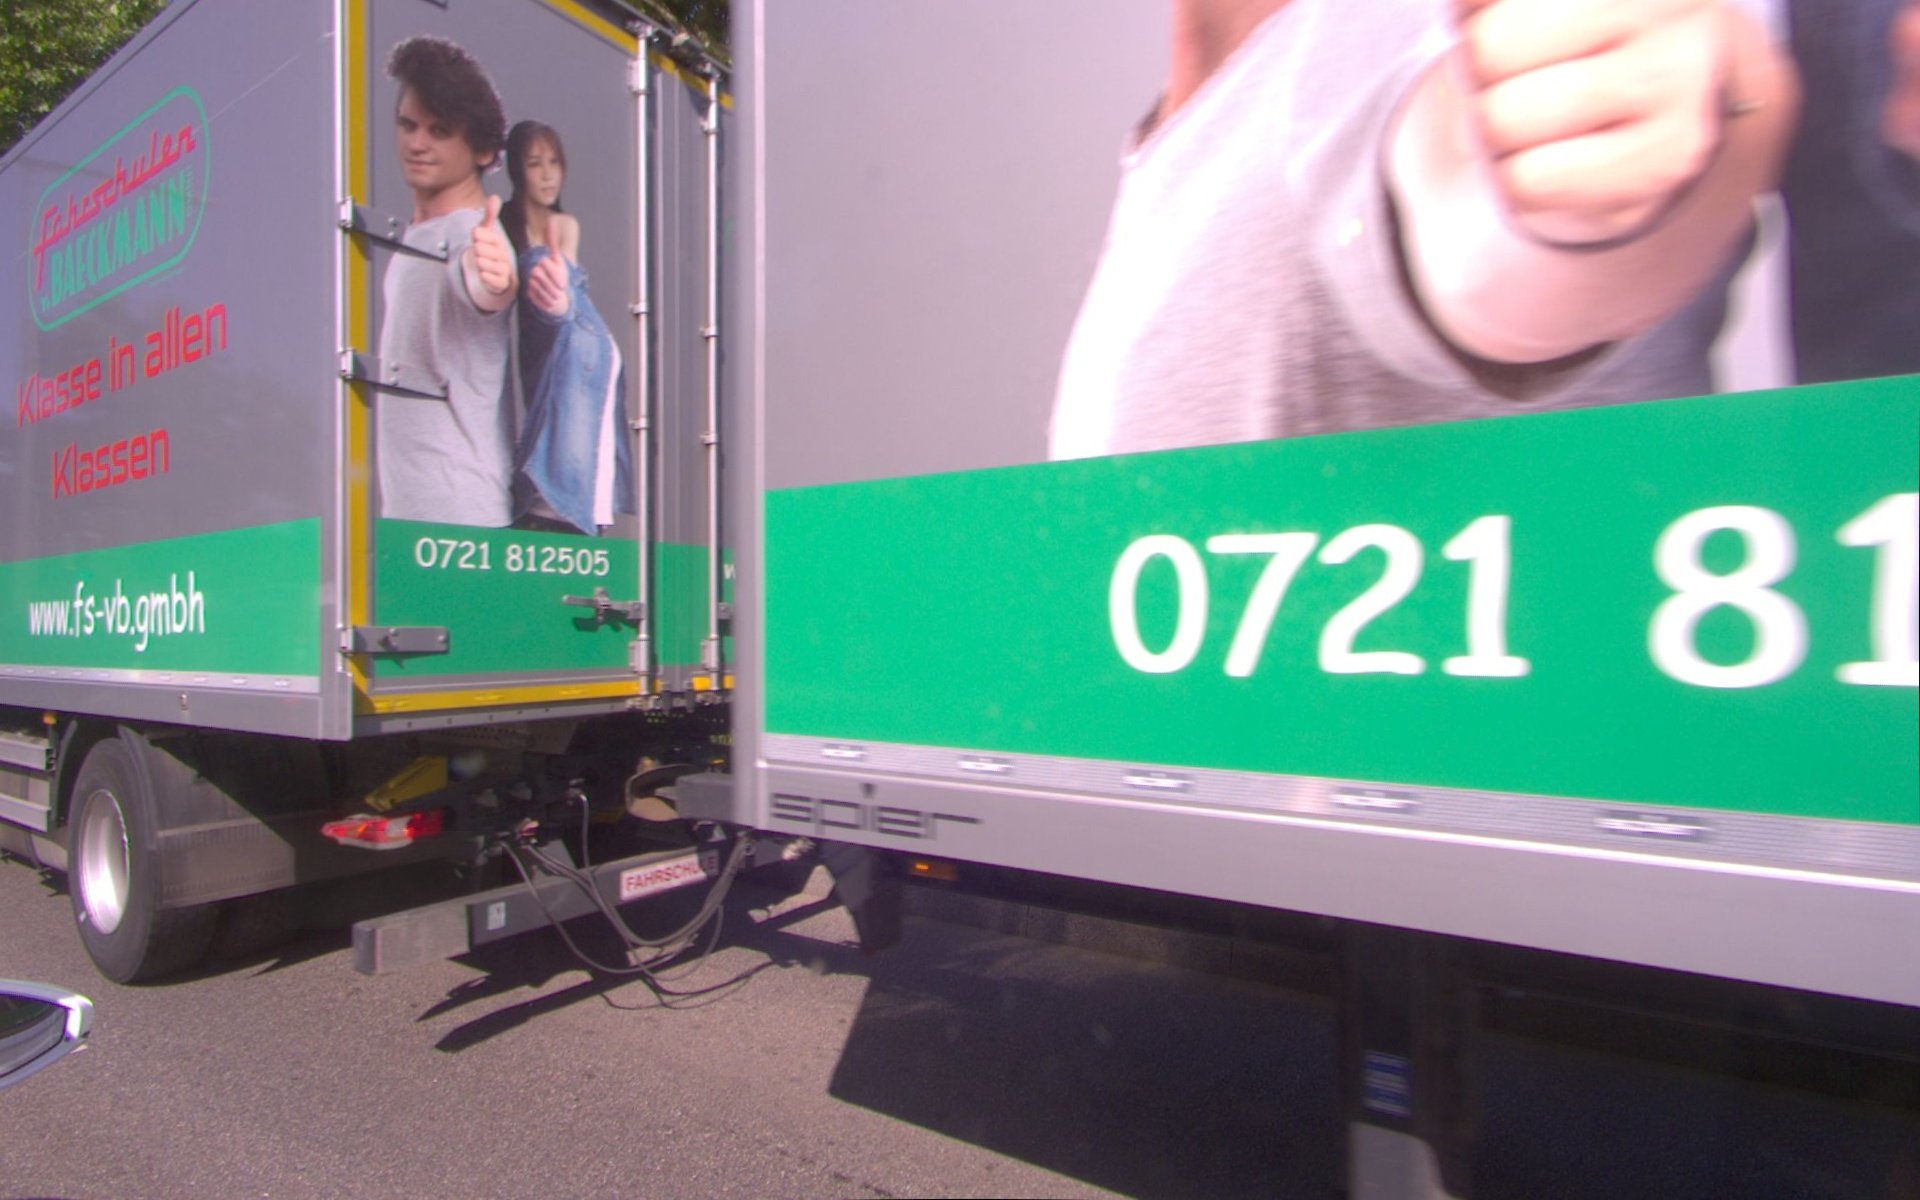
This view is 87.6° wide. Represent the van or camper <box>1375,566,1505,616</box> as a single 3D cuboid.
[{"bbox_3d":[29.791,-0.527,62.238,7.145,2.979,2.001,0,-1,-2],"label":"van or camper"}]

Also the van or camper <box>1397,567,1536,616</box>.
[{"bbox_3d":[29.514,-0.464,58.492,7.145,2.739,2.001,0,-1,-2],"label":"van or camper"}]

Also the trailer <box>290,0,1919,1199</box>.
[{"bbox_3d":[2.180,-0.598,1.567,7.630,3.927,2.729,-1,0,34],"label":"trailer"}]

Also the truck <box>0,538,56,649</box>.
[{"bbox_3d":[-33.269,-0.253,31.988,2.864,3.689,7.190,0,-2,-7],"label":"truck"}]

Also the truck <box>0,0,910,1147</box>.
[{"bbox_3d":[-4.558,-0.412,6.261,8.606,3.940,2.722,-1,-1,35],"label":"truck"}]

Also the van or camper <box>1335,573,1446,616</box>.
[{"bbox_3d":[30.777,-0.375,71.726,7.145,2.979,2.001,0,-1,-2],"label":"van or camper"}]

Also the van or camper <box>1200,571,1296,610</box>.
[{"bbox_3d":[23.056,-0.760,80.288,7.145,2.979,2.001,0,-1,-2],"label":"van or camper"}]
